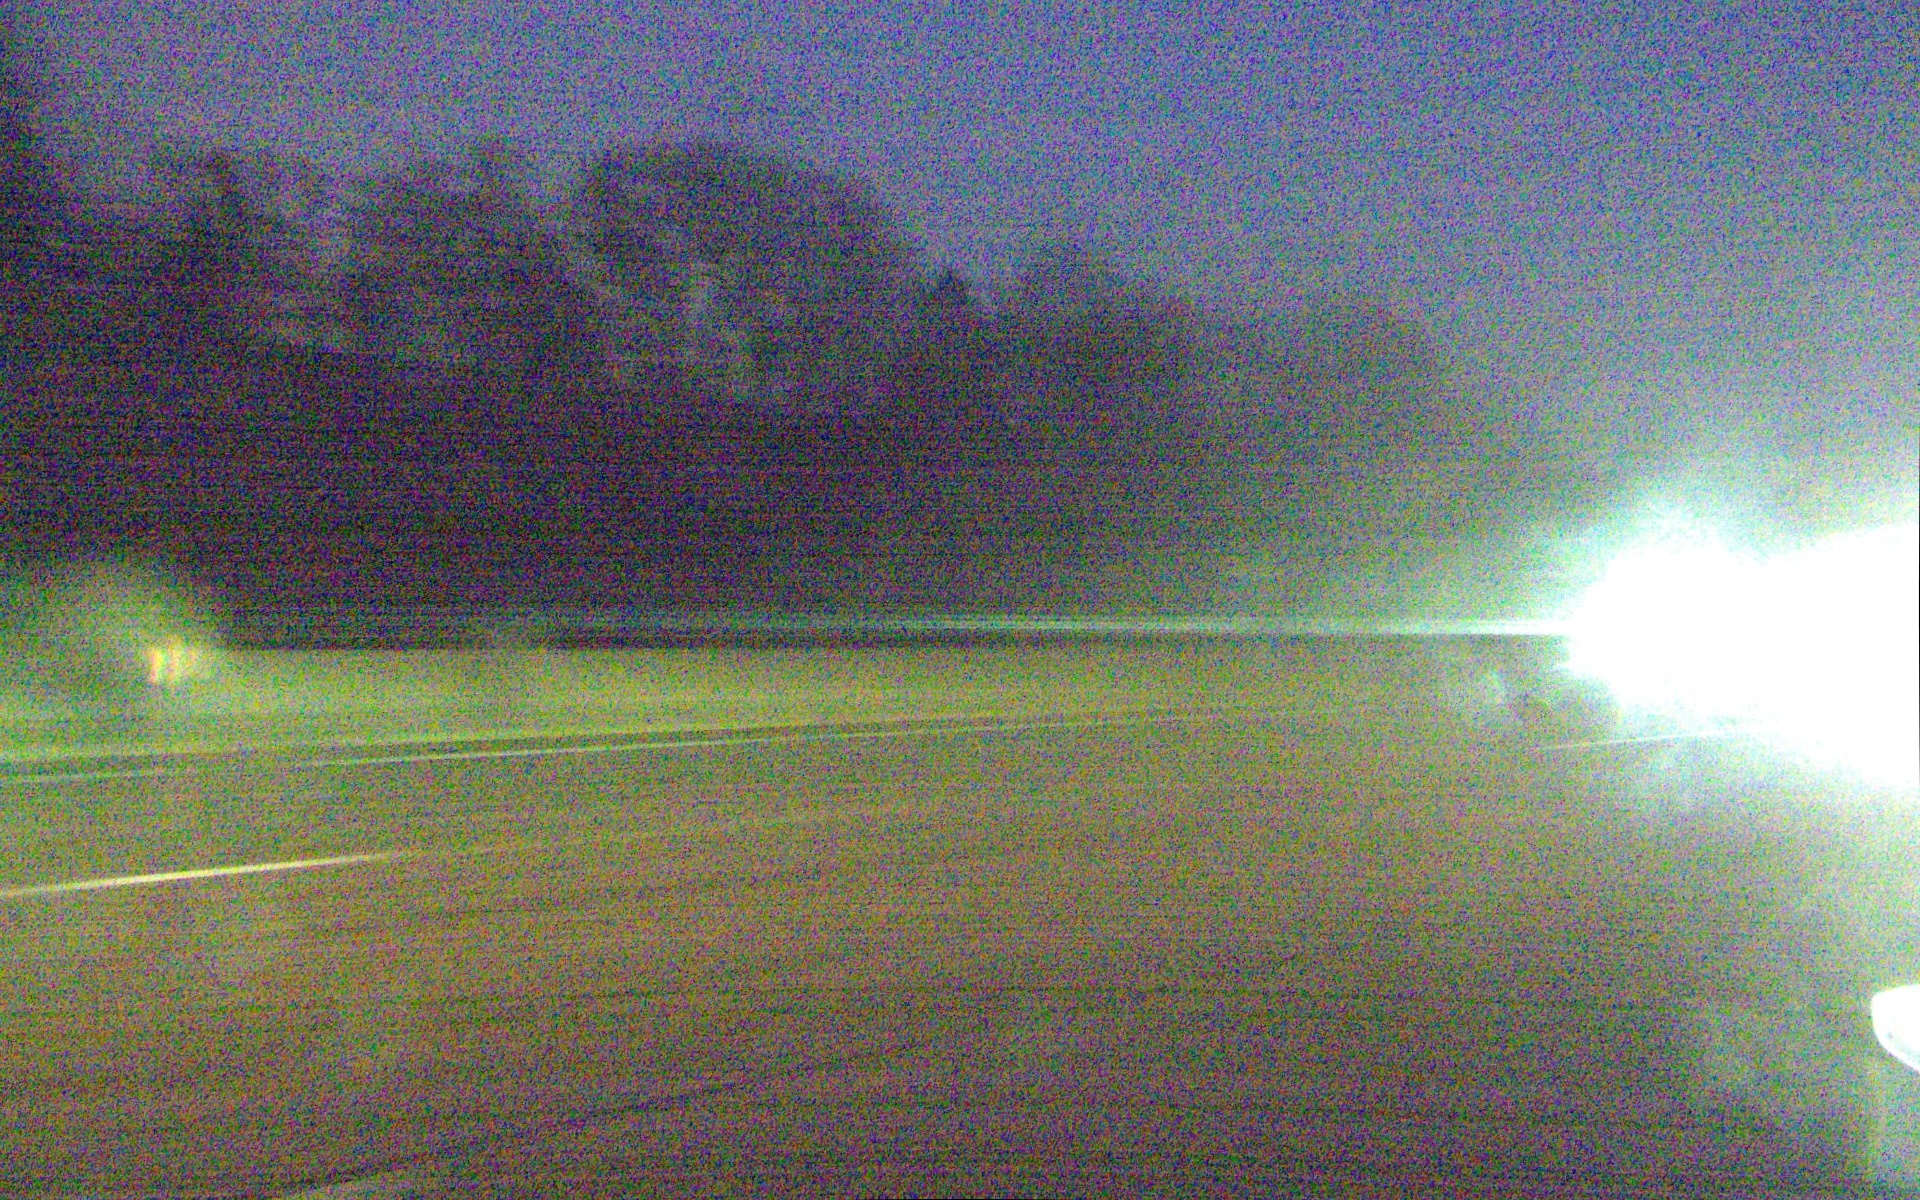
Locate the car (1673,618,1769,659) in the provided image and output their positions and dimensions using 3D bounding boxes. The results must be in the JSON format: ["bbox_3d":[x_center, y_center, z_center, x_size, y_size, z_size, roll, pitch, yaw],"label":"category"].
[{"bbox_3d":[34.115,1.708,45.017,4.205,1.665,1.983,1,0,-31],"label":"car"}]

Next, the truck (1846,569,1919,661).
[{"bbox_3d":[66.926,1.076,71.089,7.260,6.210,4.146,1,1,-31],"label":"truck"}]
